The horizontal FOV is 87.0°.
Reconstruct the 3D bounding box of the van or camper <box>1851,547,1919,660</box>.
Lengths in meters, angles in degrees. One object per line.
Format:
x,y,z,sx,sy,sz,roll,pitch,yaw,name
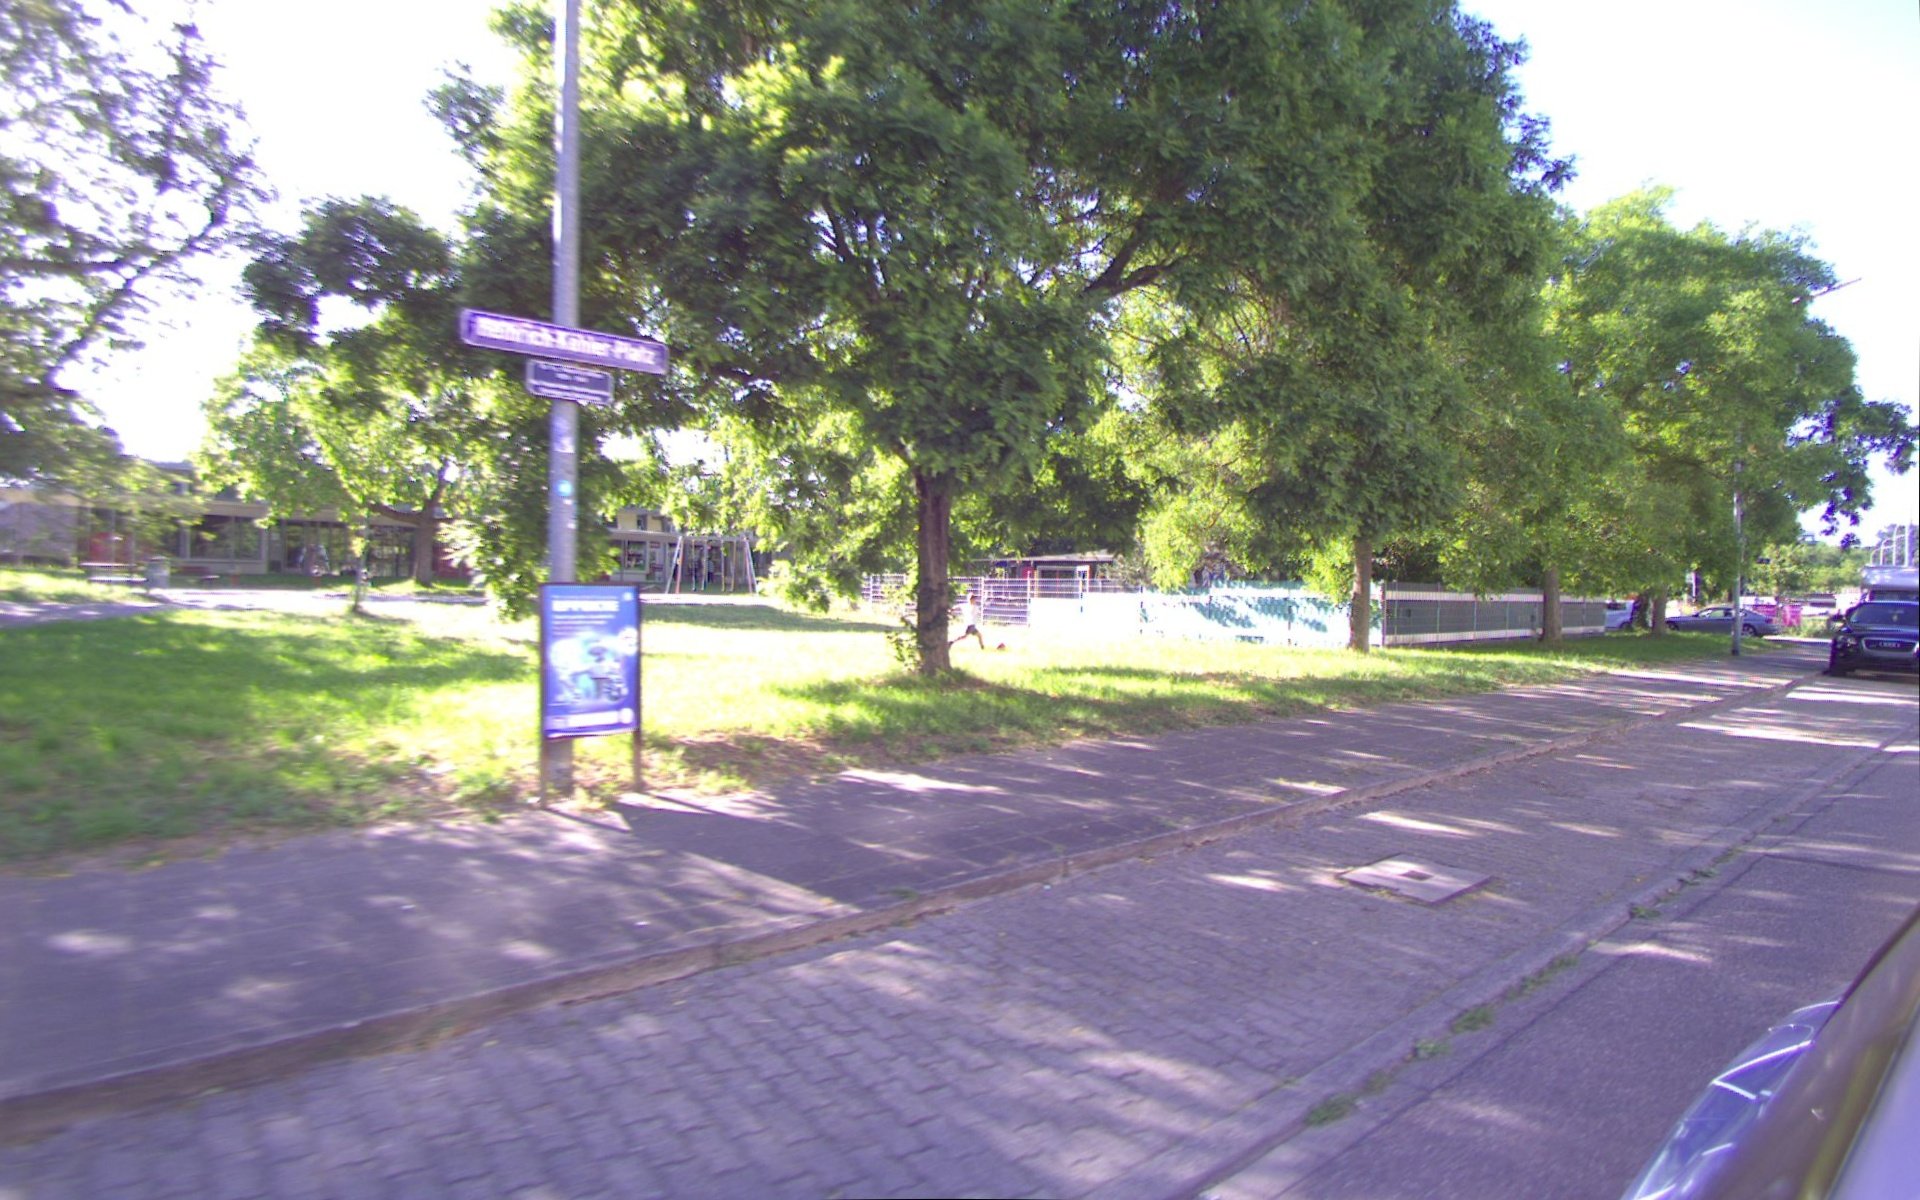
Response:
25.043,0.129,26.104,6.317,2.627,2.355,1,4,-43,van or camper

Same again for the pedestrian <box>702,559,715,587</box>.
-16.346,-1.762,65.762,0.535,1.818,0.556,1,1,-41,pedestrian

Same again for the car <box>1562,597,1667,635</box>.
30.550,0.727,47.316,1.794,1.598,3.695,1,1,-37,car

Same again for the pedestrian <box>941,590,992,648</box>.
0.134,0.377,20.252,0.700,1.102,0.713,3,1,39,pedestrian

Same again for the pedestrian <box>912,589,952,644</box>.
-0.586,0.339,20.958,0.629,1.102,0.503,2,1,28,pedestrian

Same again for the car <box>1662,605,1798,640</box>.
33.254,0.969,43.827,1.714,1.354,4.434,3,-1,-40,car

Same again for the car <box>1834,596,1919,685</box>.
20.156,0.823,21.535,1.995,1.660,4.463,4,2,45,car
